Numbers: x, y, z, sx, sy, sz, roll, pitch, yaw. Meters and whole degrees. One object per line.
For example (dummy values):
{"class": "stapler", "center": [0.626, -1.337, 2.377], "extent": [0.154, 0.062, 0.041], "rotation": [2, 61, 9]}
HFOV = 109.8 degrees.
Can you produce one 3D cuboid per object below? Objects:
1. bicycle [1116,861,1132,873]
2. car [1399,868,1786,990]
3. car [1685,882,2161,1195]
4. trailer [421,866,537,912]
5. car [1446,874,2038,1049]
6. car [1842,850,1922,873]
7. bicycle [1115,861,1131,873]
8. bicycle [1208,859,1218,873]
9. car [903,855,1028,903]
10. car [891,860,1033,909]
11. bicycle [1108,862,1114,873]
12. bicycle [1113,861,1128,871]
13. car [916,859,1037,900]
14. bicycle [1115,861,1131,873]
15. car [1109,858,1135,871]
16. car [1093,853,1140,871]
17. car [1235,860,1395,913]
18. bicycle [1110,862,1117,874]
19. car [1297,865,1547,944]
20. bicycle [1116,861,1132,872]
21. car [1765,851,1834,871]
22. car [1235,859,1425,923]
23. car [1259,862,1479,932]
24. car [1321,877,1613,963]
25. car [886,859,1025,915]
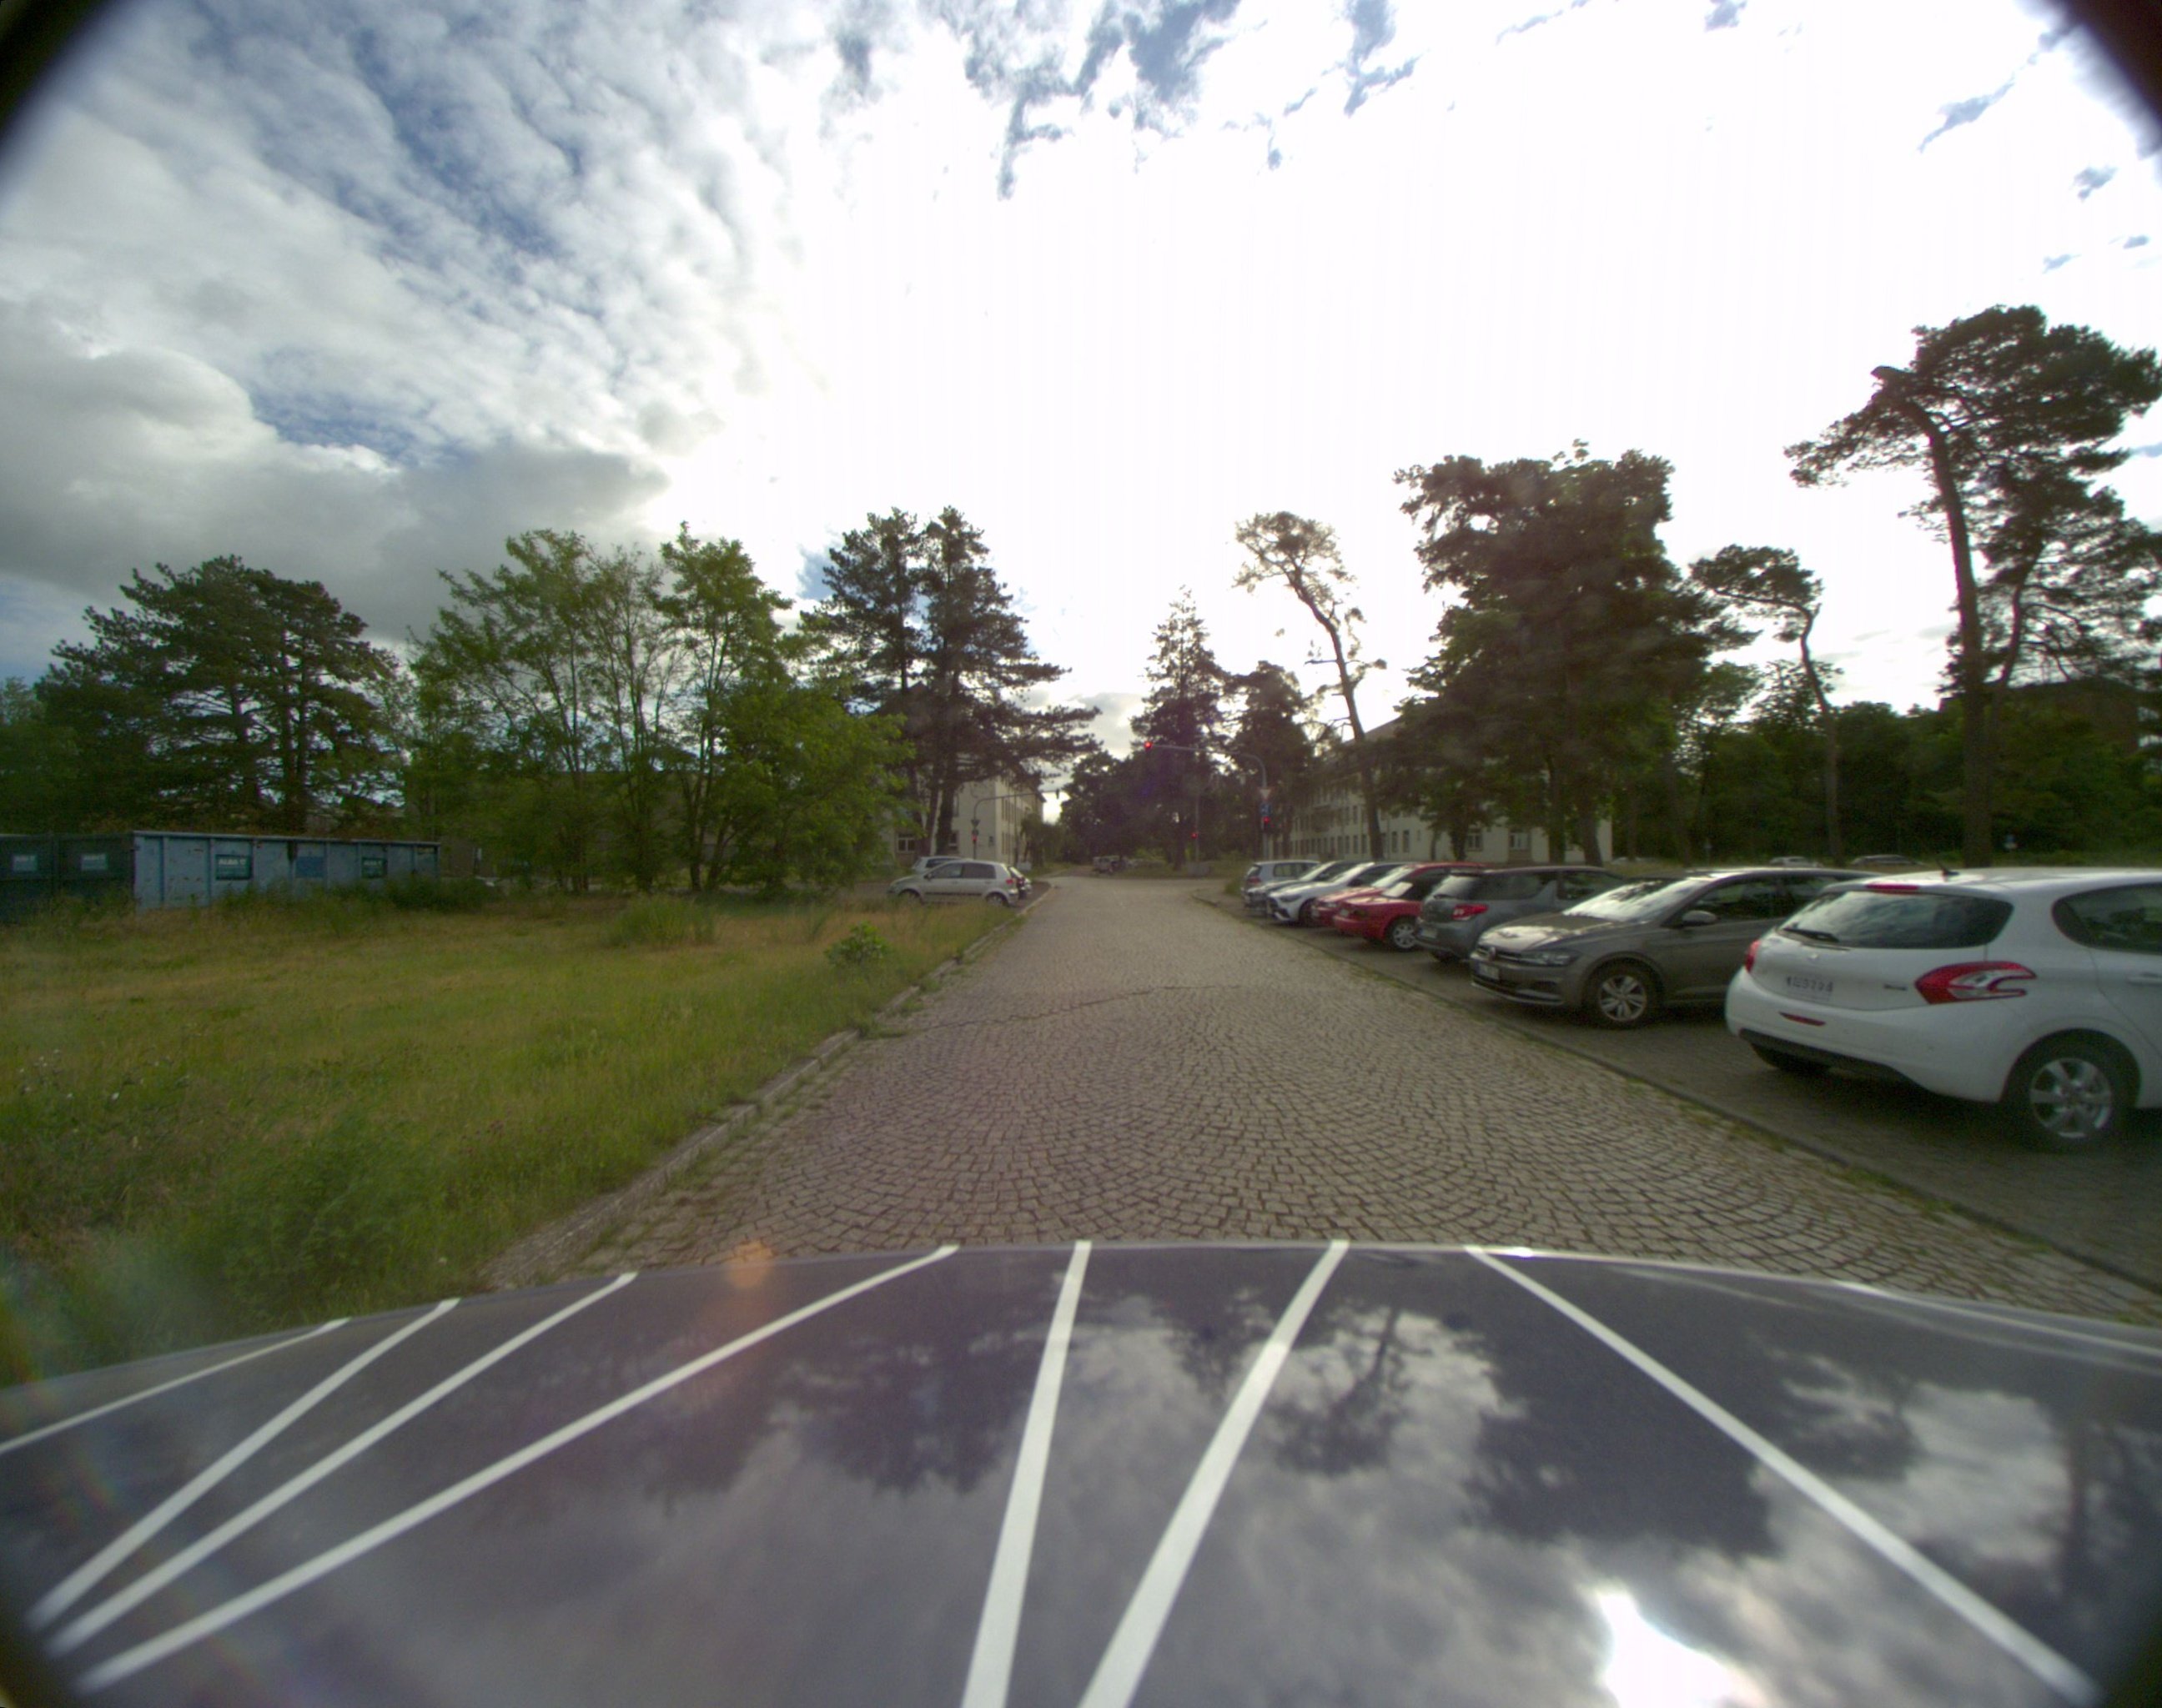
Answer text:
{"class": "bicycle", "center": [4.196, 1.236, 73.816], "extent": [1.456, 1.032, 0.497], "rotation": [-3, 1, -4]}
{"class": "car", "center": [6.798, 0.968, 10.460], "extent": [4.097, 1.472, 1.755], "rotation": [-1, 0, 2]}
{"class": "car", "center": [6.518, 0.967, 4.716], "extent": [4.014, 1.493, 1.843], "rotation": [-1, 0, 3]}
{"class": "trailer", "center": [-17.030, 0.977, 21.559], "extent": [2.318, 1.163, 1.143], "rotation": [-1, 1, 0]}
{"class": "car", "center": [6.229, 0.989, 7.588], "extent": [4.314, 1.472, 1.731], "rotation": [-1, 0, 3]}
{"class": "car", "center": [59.943, 0.551, 56.910], "extent": [4.054, 1.601, 1.717], "rotation": [-1, 2, 3]}
{"class": "bicycle", "center": [3.974, 1.217, 71.988], "extent": [1.457, 1.032, 0.497], "rotation": [-3, 1, -6]}
{"class": "bicycle", "center": [10.334, 0.954, 59.565], "extent": [0.497, 1.068, 1.416], "rotation": [-3, 0, -2]}
{"class": "car", "center": [-4.168, 0.892, 27.889], "extent": [4.342, 1.565, 1.826], "rotation": [2, 1, -4]}
{"class": "car", "center": [-3.853, 0.977, 25.196], "extent": [4.377, 1.397, 1.796], "rotation": [2, -1, 0]}
{"class": "bicycle", "center": [2.761, 1.261, 70.617], "extent": [0.497, 1.032, 1.416], "rotation": [-3, 0, 0]}
{"class": "bicycle", "center": [4.126, 1.244, 78.700], "extent": [1.456, 1.032, 0.497], "rotation": [-3, 1, -4]}
{"class": "car", "center": [-4.108, 0.996, 30.467], "extent": [4.562, 1.417, 1.826], "rotation": [2, 1, -2]}
{"class": "bicycle", "center": [4.050, 1.231, 72.783], "extent": [1.456, 1.032, 0.497], "rotation": [-3, 1, -4]}
{"class": "car", "center": [4.673, 1.185, 86.752], "extent": [2.771, 1.407, 1.592], "rotation": [-3, 0, 0]}
{"class": "car", "center": [4.159, 0.973, 90.098], "extent": [5.172, 1.905, 2.034], "rotation": [-2, 0, -12]}
{"class": "car", "center": [7.027, 0.952, 23.145], "extent": [4.339, 1.462, 1.827], "rotation": [-1, 1, 2]}
{"class": "bicycle", "center": [2.921, 1.259, 69.009], "extent": [0.497, 1.068, 1.416], "rotation": [-3, 0, 0]}
{"class": "car", "center": [6.804, 0.990, 15.526], "extent": [4.264, 1.446, 1.855], "rotation": [-1, 0, 1]}
{"class": "bicycle", "center": [4.177, 1.229, 74.401], "extent": [1.456, 1.032, 0.497], "rotation": [-3, 1, -4]}
{"class": "car", "center": [60.787, 0.580, 64.302], "extent": [4.053, 1.601, 1.717], "rotation": [-1, 2, 5]}
{"class": "car", "center": [6.628, 0.965, 20.526], "extent": [4.513, 1.528, 1.870], "rotation": [-1, 1, -2]}
{"class": "car", "center": [6.611, 0.963, 17.839], "extent": [4.447, 1.447, 1.949], "rotation": [-1, 1, 2]}
{"class": "car", "center": [6.502, 1.097, 13.149], "extent": [4.141, 1.275, 1.764], "rotation": [-1, 0, 1]}
{"class": "car", "center": [-3.635, 0.953, 22.489], "extent": [3.782, 1.471, 1.743], "rotation": [2, -1, -2]}
